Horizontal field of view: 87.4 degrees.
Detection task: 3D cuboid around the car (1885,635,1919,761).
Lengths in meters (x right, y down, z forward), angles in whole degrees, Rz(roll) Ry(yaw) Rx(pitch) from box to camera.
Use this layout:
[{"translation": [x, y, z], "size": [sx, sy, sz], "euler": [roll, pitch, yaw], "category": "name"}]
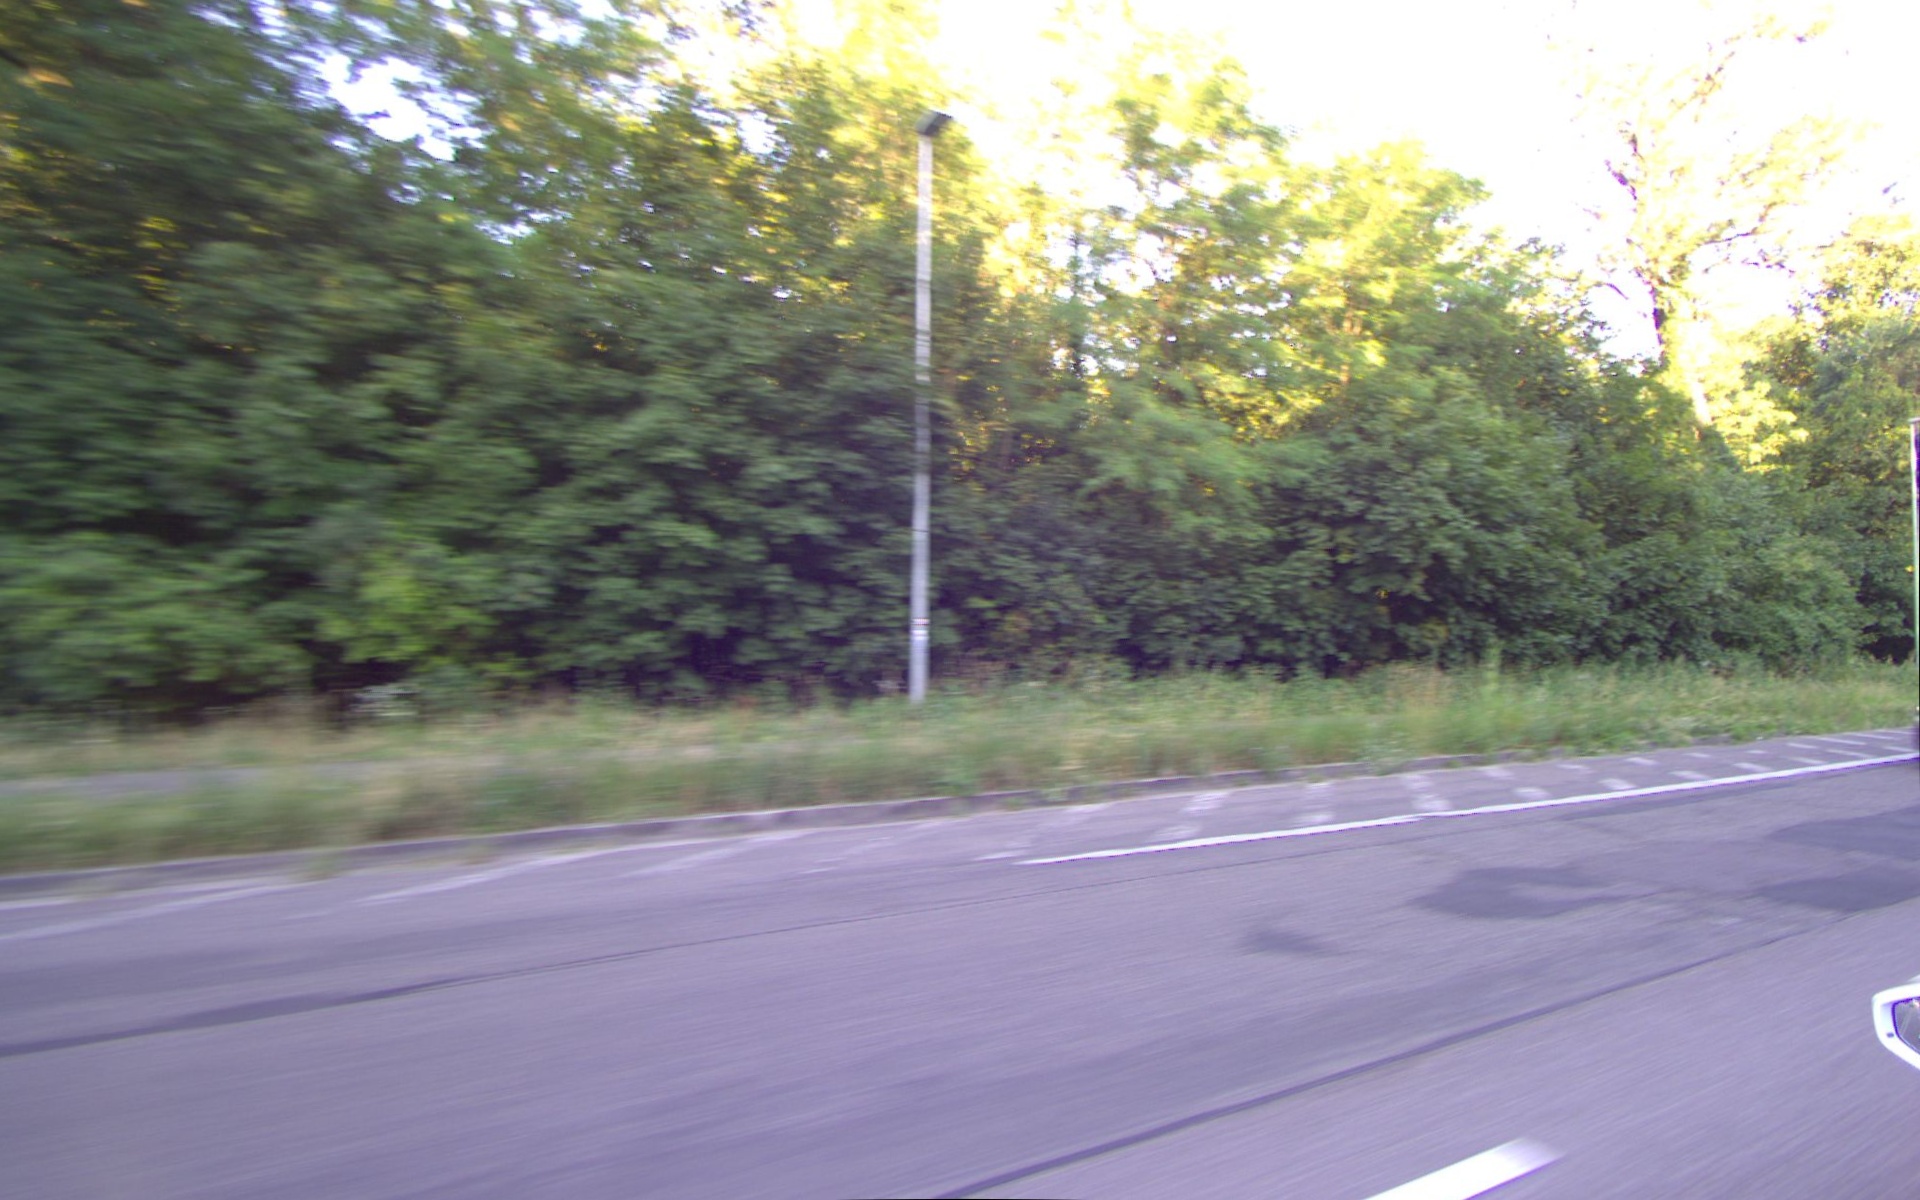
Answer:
[{"translation": [13.400, 1.152, 12.099], "size": [4.412, 1.454, 2.055], "euler": [2, -3, -30], "category": "car"}]
